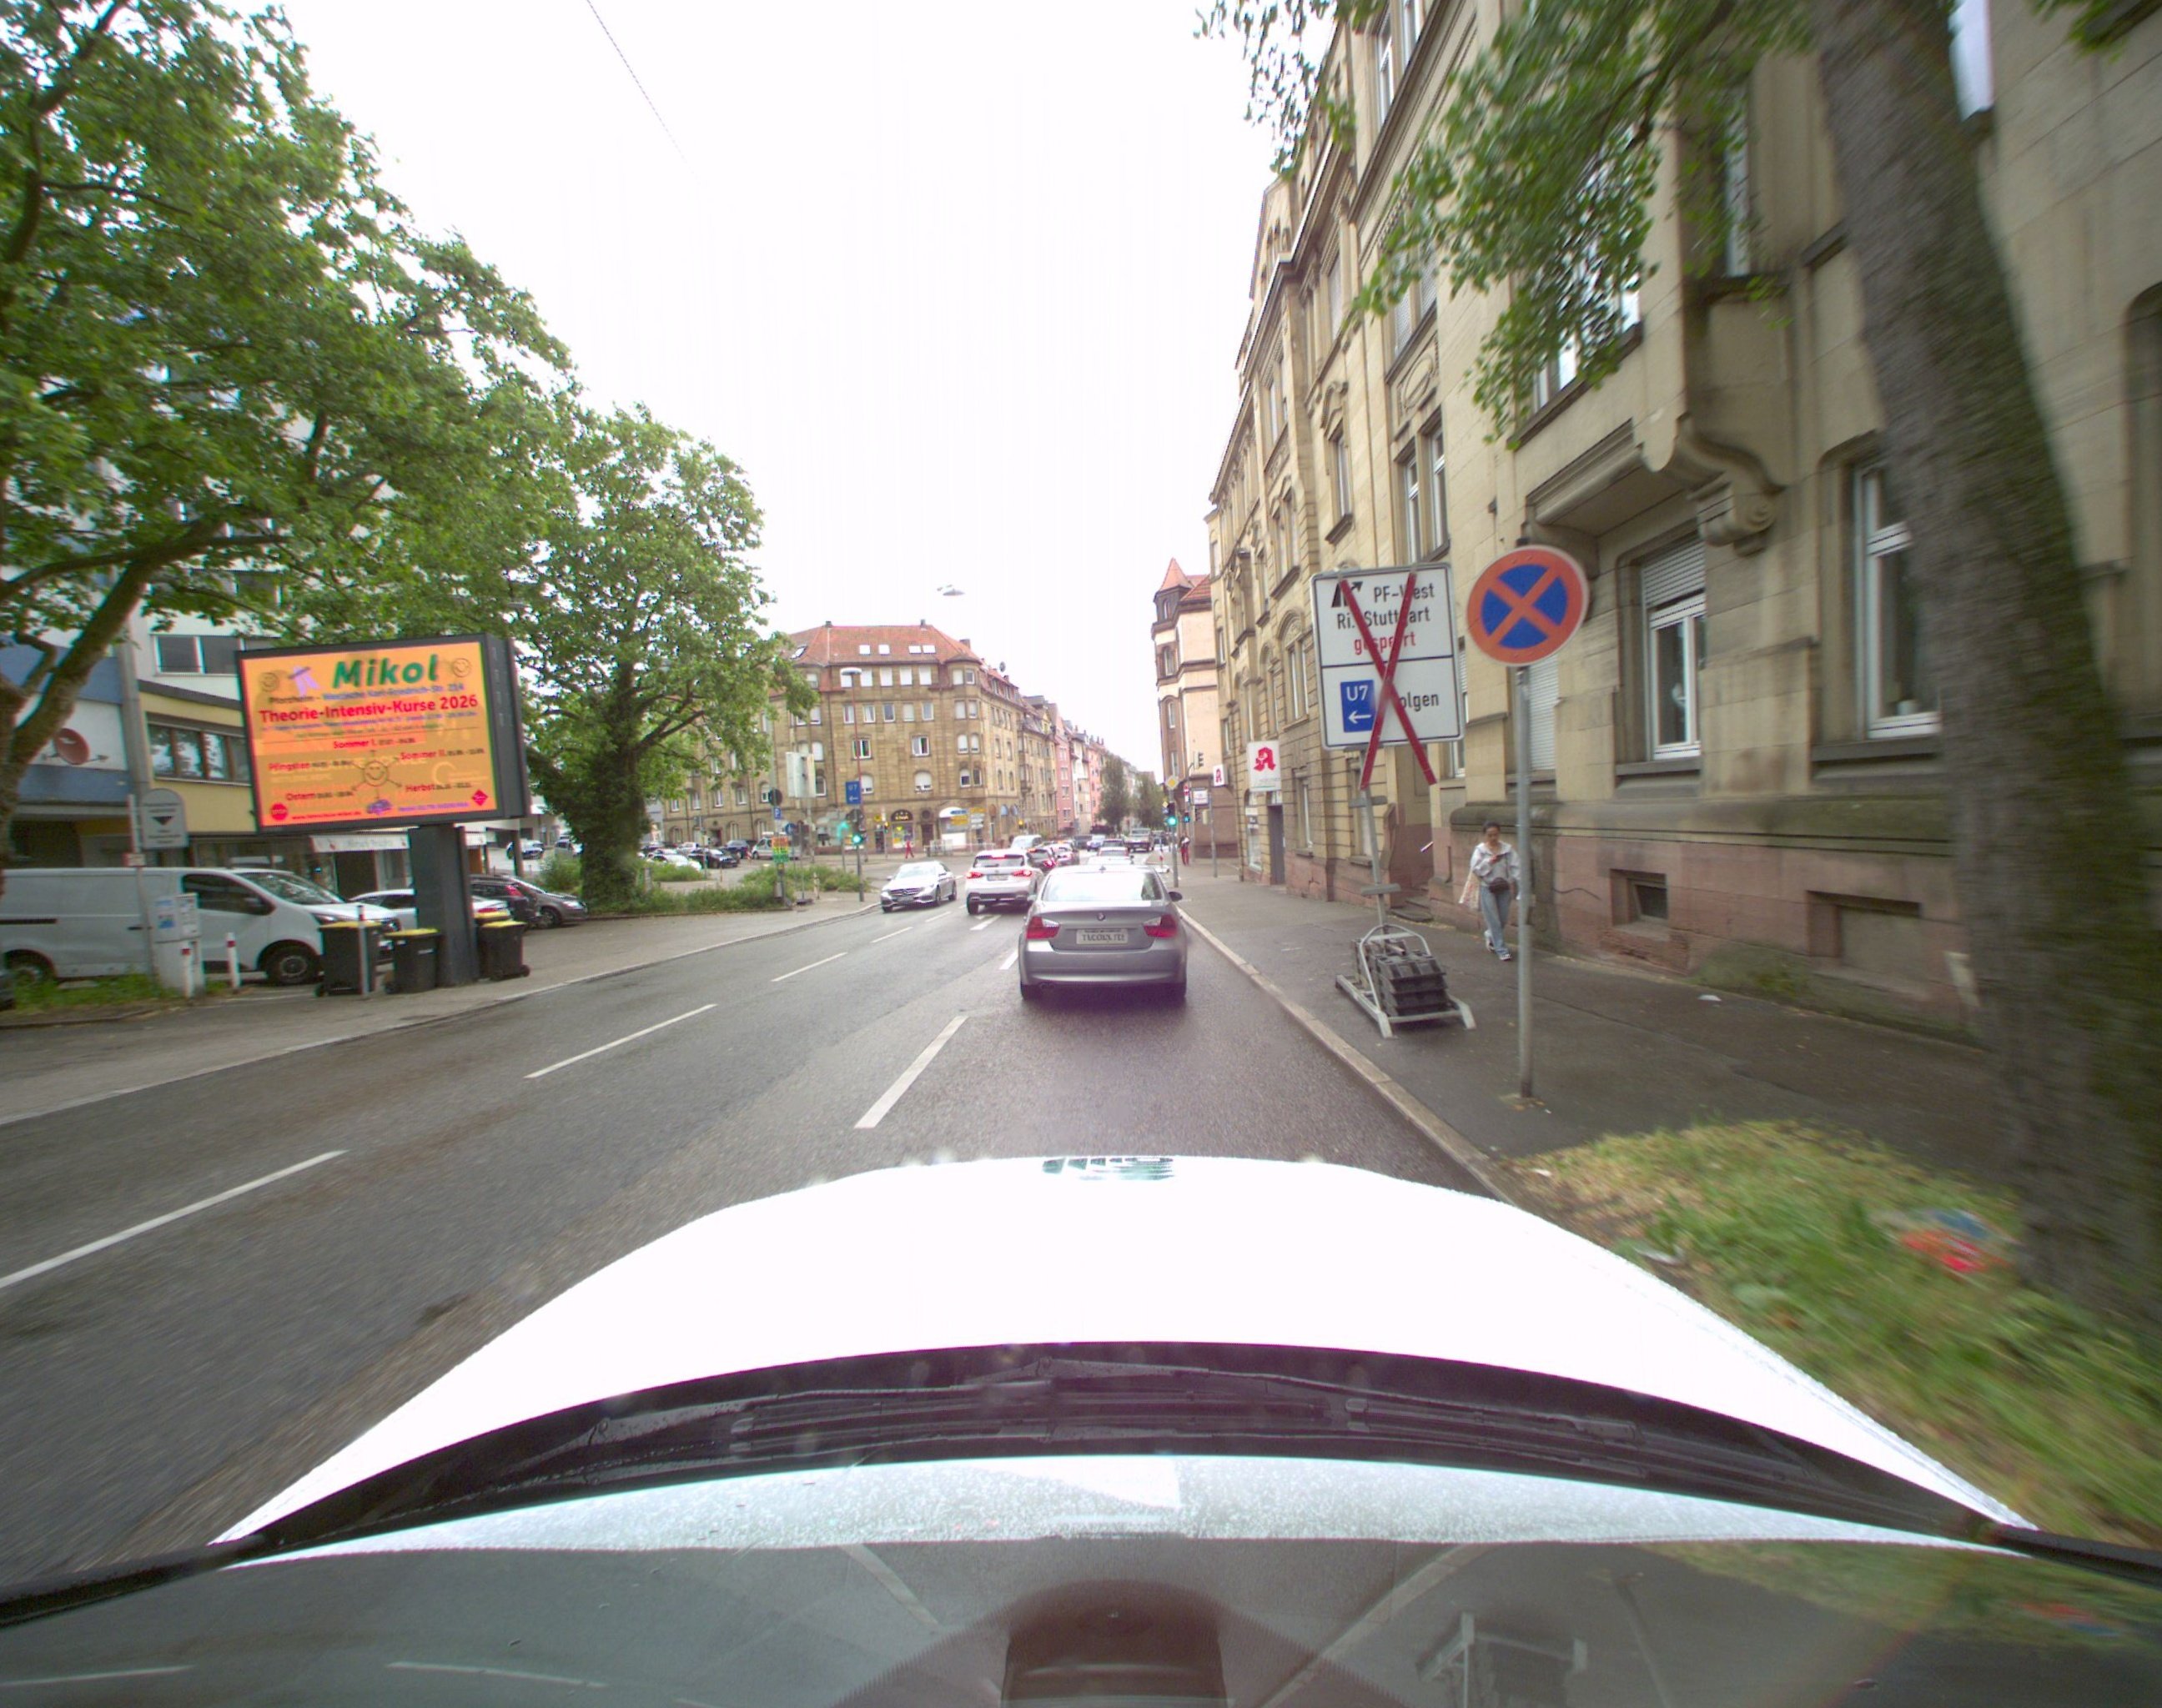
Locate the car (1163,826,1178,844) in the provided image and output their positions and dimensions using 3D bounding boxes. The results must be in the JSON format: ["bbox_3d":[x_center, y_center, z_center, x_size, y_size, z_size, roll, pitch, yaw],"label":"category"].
[{"bbox_3d":[10.970,-2.328,99.613,1.715,2.014,4.009,0,0,8],"label":"car"}]

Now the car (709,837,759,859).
[{"bbox_3d":[-31.123,-0.571,73.029,4.238,1.838,2.013,1,2,30],"label":"car"}]

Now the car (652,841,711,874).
[{"bbox_3d":[-27.496,0.246,56.028,3.948,2.013,1.890,-3,0,34],"label":"car"}]

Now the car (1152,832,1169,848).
[{"bbox_3d":[8.490,-1.490,87.585,1.717,1.552,4.005,0,0,4],"label":"car"}]

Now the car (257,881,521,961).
[{"bbox_3d":[-15.567,1.453,18.614,4.183,1.456,1.783,-2,0,-19],"label":"car"}]

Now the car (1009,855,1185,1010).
[{"bbox_3d":[0.260,0.744,9.451,1.616,1.383,3.619,-1,0,3],"label":"car"}]

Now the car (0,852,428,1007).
[{"bbox_3d":[-14.403,1.132,13.549,5.075,2.105,1.980,-2,0,-19],"label":"car"}]

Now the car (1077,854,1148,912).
[{"bbox_3d":[0.911,0.745,22.541,1.752,1.383,4.004,-1,0,3],"label":"car"}]

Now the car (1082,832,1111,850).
[{"bbox_3d":[1.459,-1.110,73.568,1.831,1.541,4.014,0,0,12],"label":"car"}]

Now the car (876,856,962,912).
[{"bbox_3d":[-5.305,0.925,27.240,1.731,1.526,4.474,-5,0,2],"label":"car"}]

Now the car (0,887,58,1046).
[{"bbox_3d":[-14.283,1.370,8.311,4.369,1.784,1.927,-2,0,-19],"label":"car"}]

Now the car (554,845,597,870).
[{"bbox_3d":[-44.070,0.324,70.999,3.948,2.013,1.587,-1,1,34],"label":"car"}]

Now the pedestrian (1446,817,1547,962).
[{"bbox_3d":[4.627,0.381,9.116,0.629,1.508,0.693,-7,0,1],"label":"pedestrian"}]

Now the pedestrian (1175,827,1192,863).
[{"bbox_3d":[5.582,-0.470,44.430,0.739,1.910,0.659,-3,0,1],"label":"pedestrian"}]

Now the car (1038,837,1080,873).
[{"bbox_3d":[-1.084,0.025,41.935,1.752,1.707,4.004,-1,0,3],"label":"car"}]

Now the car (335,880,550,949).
[{"bbox_3d":[-16.418,1.521,21.197,3.984,1.450,1.758,-2,0,-19],"label":"car"}]

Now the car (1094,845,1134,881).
[{"bbox_3d":[1.499,0.350,35.669,1.588,1.464,4.004,-2,0,4],"label":"car"}]

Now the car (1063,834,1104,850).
[{"bbox_3d":[0.379,-1.541,103.393,5.157,2.014,2.699,0,-1,1],"label":"car"}]

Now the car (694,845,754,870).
[{"bbox_3d":[-26.495,0.284,60.418,4.194,1.726,2.013,0,2,33],"label":"car"}]

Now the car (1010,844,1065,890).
[{"bbox_3d":[-1.738,0.485,33.428,1.752,1.707,4.004,-1,0,3],"label":"car"}]

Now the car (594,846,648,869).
[{"bbox_3d":[-38.074,0.331,67.415,4.195,1.726,2.013,-1,3,31],"label":"car"}]

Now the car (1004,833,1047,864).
[{"bbox_3d":[-3.630,-0.386,54.020,1.751,1.925,4.335,-3,0,10],"label":"car"}]

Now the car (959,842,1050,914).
[{"bbox_3d":[-1.986,0.563,22.318,1.861,1.625,4.003,-4,2,2],"label":"car"}]

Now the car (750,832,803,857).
[{"bbox_3d":[-26.574,-0.841,71.064,4.238,2.101,2.013,1,2,30],"label":"car"}]

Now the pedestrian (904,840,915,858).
[{"bbox_3d":[-14.719,-0.428,70.055,0.532,1.577,0.723,-3,0,21],"label":"pedestrian"}]

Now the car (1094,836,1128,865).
[{"bbox_3d":[1.794,-0.209,47.632,1.751,1.567,4.005,-2,1,4],"label":"car"}]

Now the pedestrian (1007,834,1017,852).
[{"bbox_3d":[-6.353,-0.991,74.781,0.727,1.577,0.530,-2,0,11],"label":"pedestrian"}]

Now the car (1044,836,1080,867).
[{"bbox_3d":[-1.114,-0.158,49.138,1.752,1.707,4.004,-1,0,3],"label":"car"}]

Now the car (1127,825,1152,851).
[{"bbox_3d":[4.919,-1.338,68.708,1.986,2.106,4.002,-1,0,2],"label":"car"}]

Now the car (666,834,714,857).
[{"bbox_3d":[-37.054,-0.817,77.109,4.238,2.101,2.013,1,2,30],"label":"car"}]

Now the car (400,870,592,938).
[{"bbox_3d":[-16.810,1.385,23.657,4.138,1.653,1.757,-2,0,-21],"label":"car"}]
